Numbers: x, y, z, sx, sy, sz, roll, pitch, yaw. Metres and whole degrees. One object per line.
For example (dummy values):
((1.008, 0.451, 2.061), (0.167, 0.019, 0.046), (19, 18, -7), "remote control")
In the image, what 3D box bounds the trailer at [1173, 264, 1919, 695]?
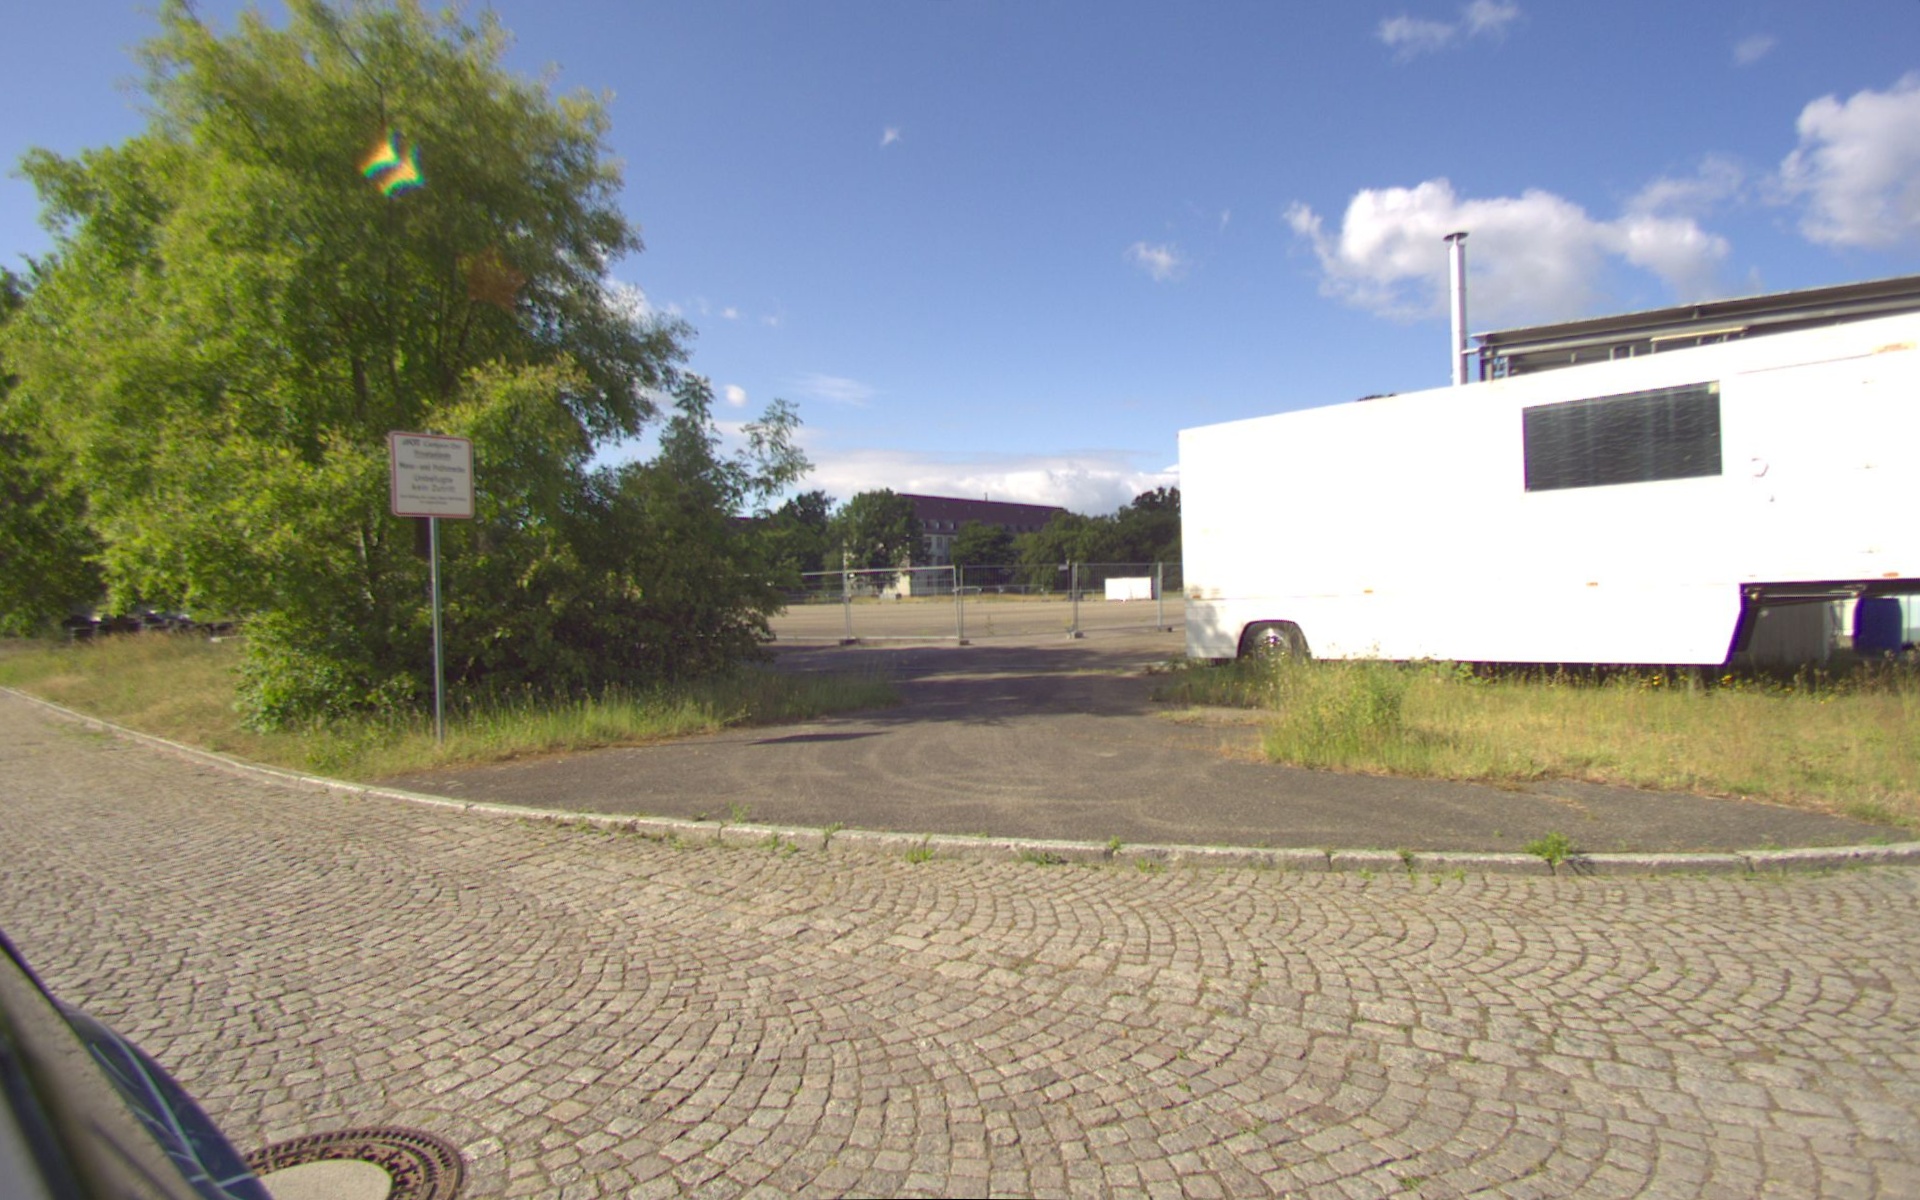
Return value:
((8.003, -1.087, 11.877), (10.886, 3.940, 2.742), (-1, 0, 43), "trailer")

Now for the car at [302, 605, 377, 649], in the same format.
((-21.900, 0.931, 35.687), (1.522, 1.417, 3.581), (-1, 0, -43), "car")
